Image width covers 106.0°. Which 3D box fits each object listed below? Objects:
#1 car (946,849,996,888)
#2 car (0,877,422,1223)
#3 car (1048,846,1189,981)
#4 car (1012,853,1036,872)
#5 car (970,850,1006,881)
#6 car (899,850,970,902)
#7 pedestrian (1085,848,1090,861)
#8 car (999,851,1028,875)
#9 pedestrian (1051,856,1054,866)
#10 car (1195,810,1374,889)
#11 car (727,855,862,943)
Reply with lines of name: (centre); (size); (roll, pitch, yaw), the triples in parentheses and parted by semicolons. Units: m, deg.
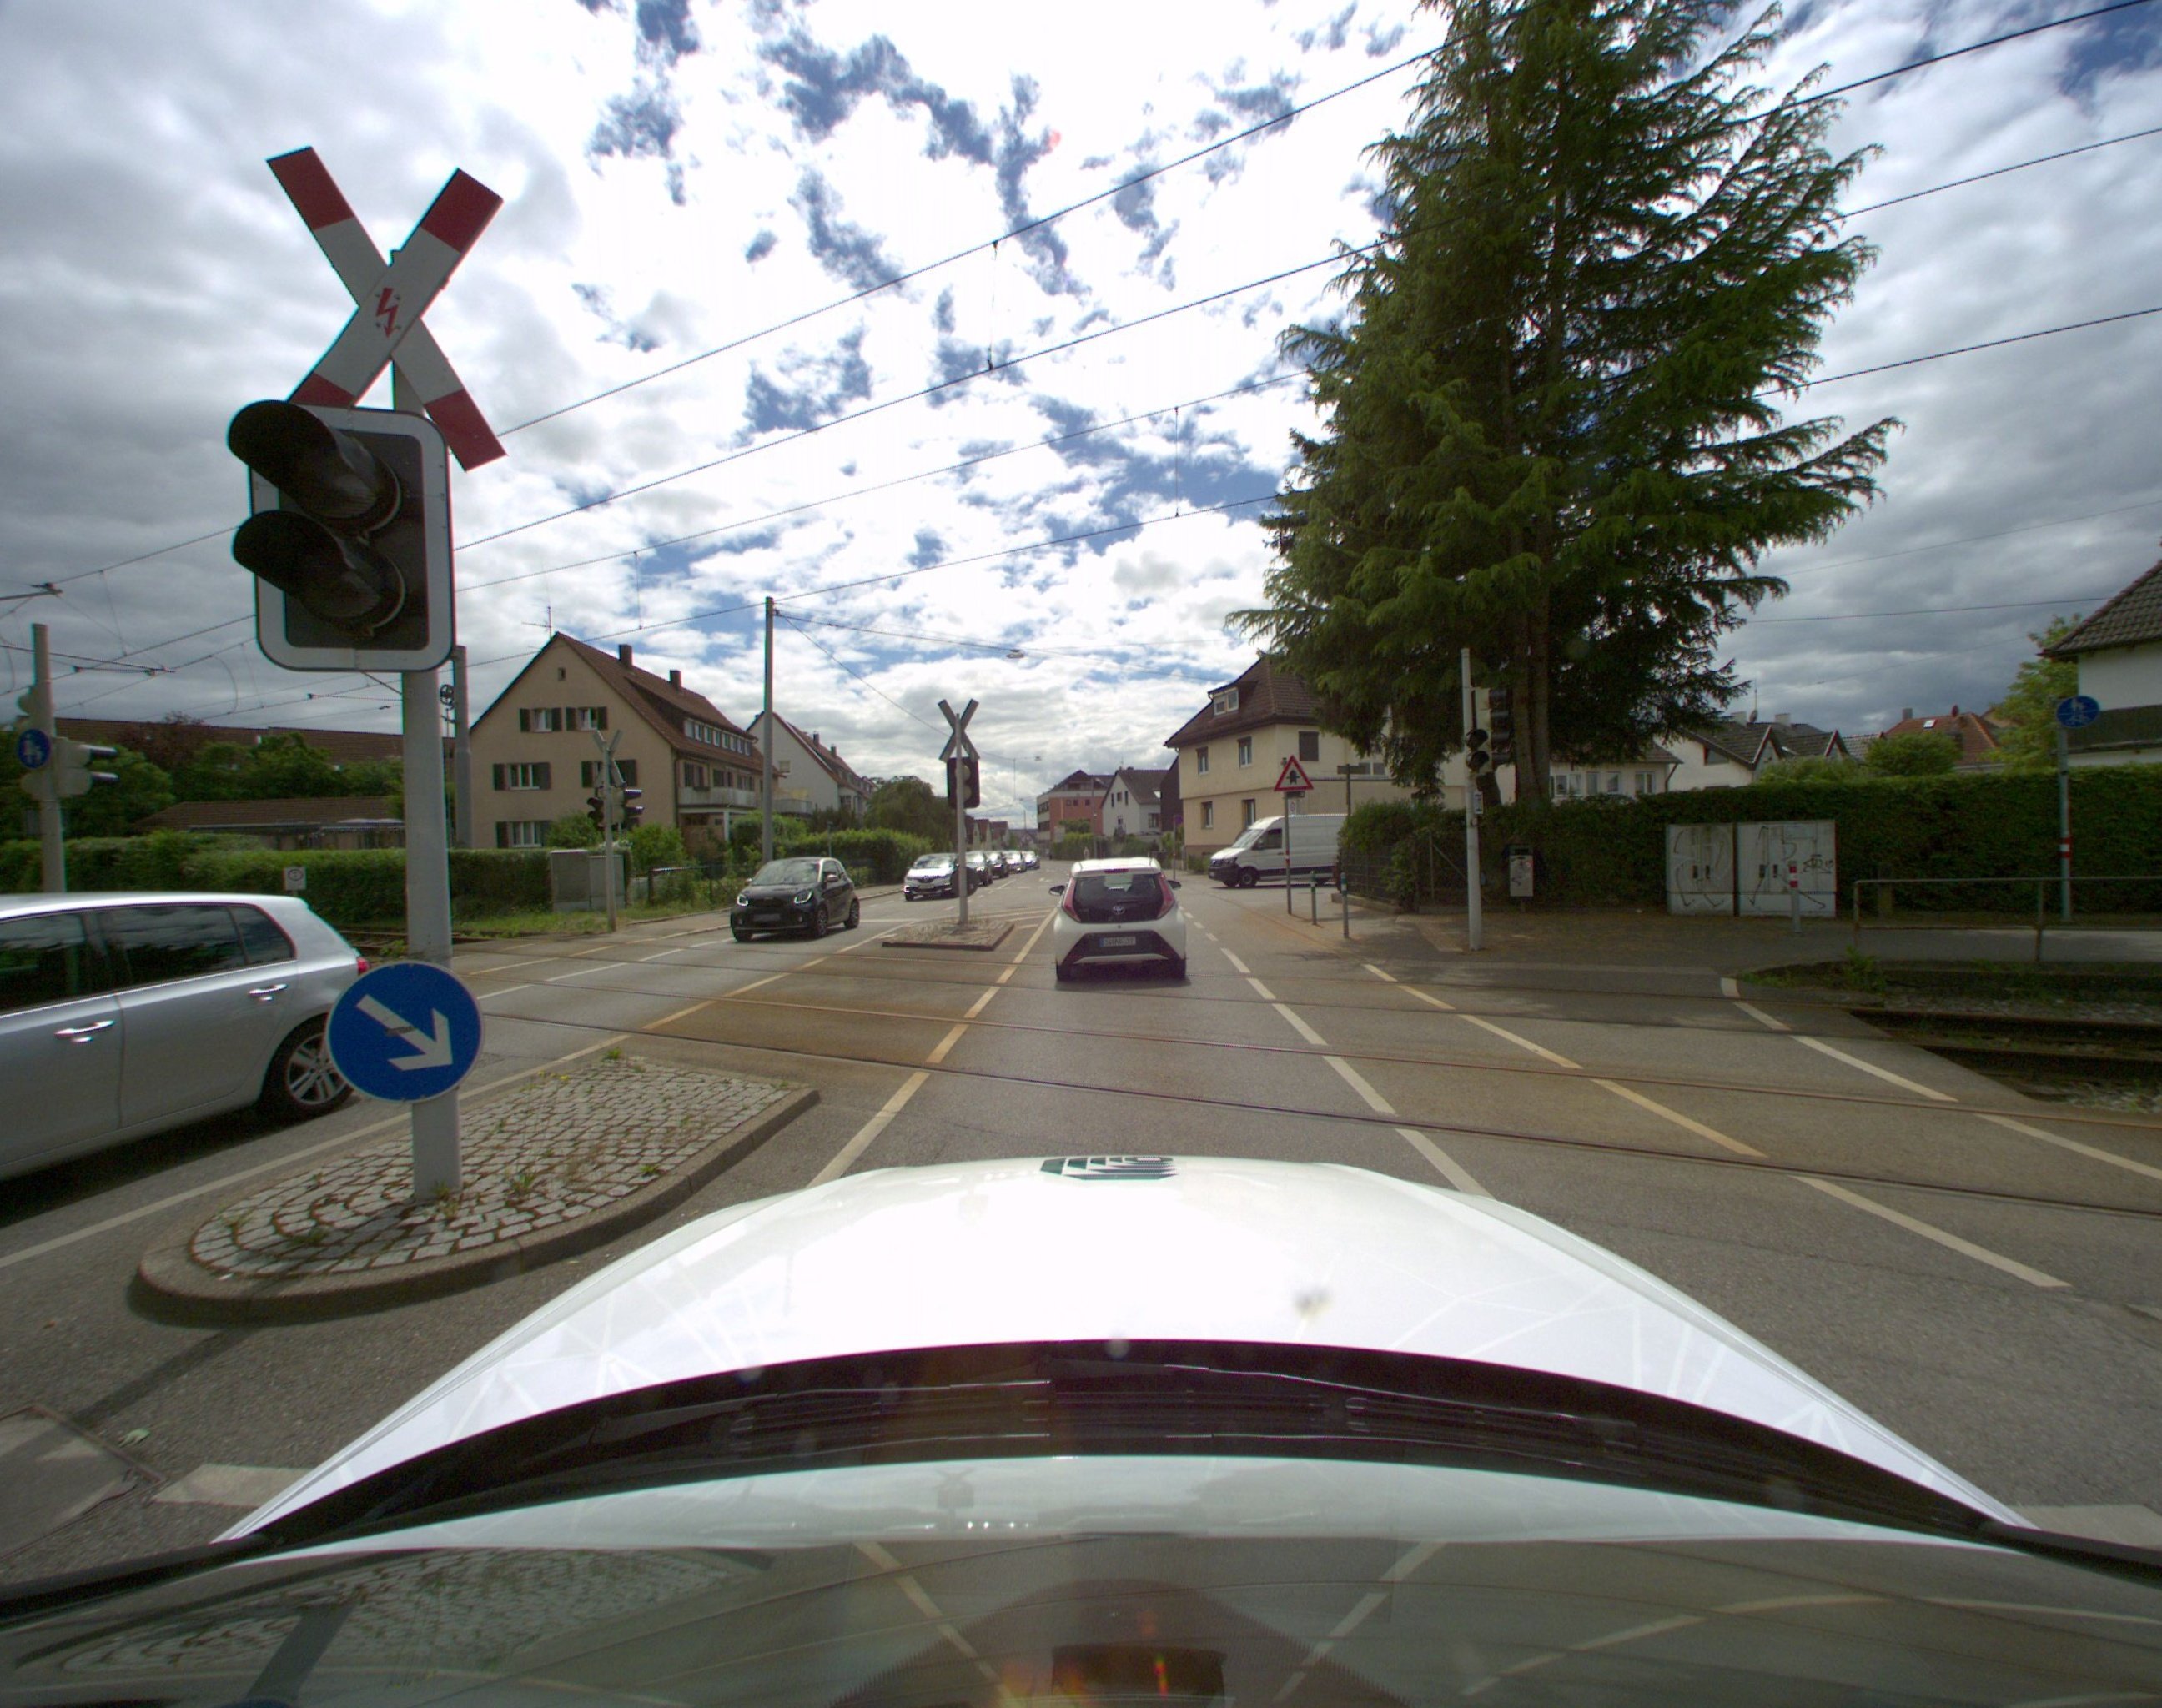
car: (-5.084, 0.653, 37.966); (1.770, 1.603, 4.036); (-3, -1, -1)
car: (-5.594, 0.915, 3.830); (1.683, 1.458, 4.067); (-2, 0, -1)
car: (0.524, 0.683, 11.564); (1.614, 1.486, 4.003); (-1, 1, 2)
car: (-4.605, 0.690, 66.031); (1.772, 1.430, 4.514); (-3, -1, -5)
car: (-5.422, 0.670, 47.869); (1.771, 1.603, 4.164); (-3, -1, -3)
car: (-5.131, 0.715, 29.023); (1.770, 1.603, 4.037); (-3, 1, -1)
pedestrian: (0.708, 0.004, 90.777); (0.411, 1.437, 0.438); (-1, 0, 6)
car: (-4.764, 0.633, 57.872); (1.771, 1.561, 4.165); (-3, -1, -3)
pedestrian: (-4.138, 1.008, 117.978); (0.413, 1.437, 0.436); (-1, 0, -8)
car: (7.348, -0.184, 29.551); (5.998, 2.581, 1.993); (-2, 1, -11)
car: (-5.562, 0.816, 16.143); (1.569, 1.510, 2.789); (-2, 1, 2)
